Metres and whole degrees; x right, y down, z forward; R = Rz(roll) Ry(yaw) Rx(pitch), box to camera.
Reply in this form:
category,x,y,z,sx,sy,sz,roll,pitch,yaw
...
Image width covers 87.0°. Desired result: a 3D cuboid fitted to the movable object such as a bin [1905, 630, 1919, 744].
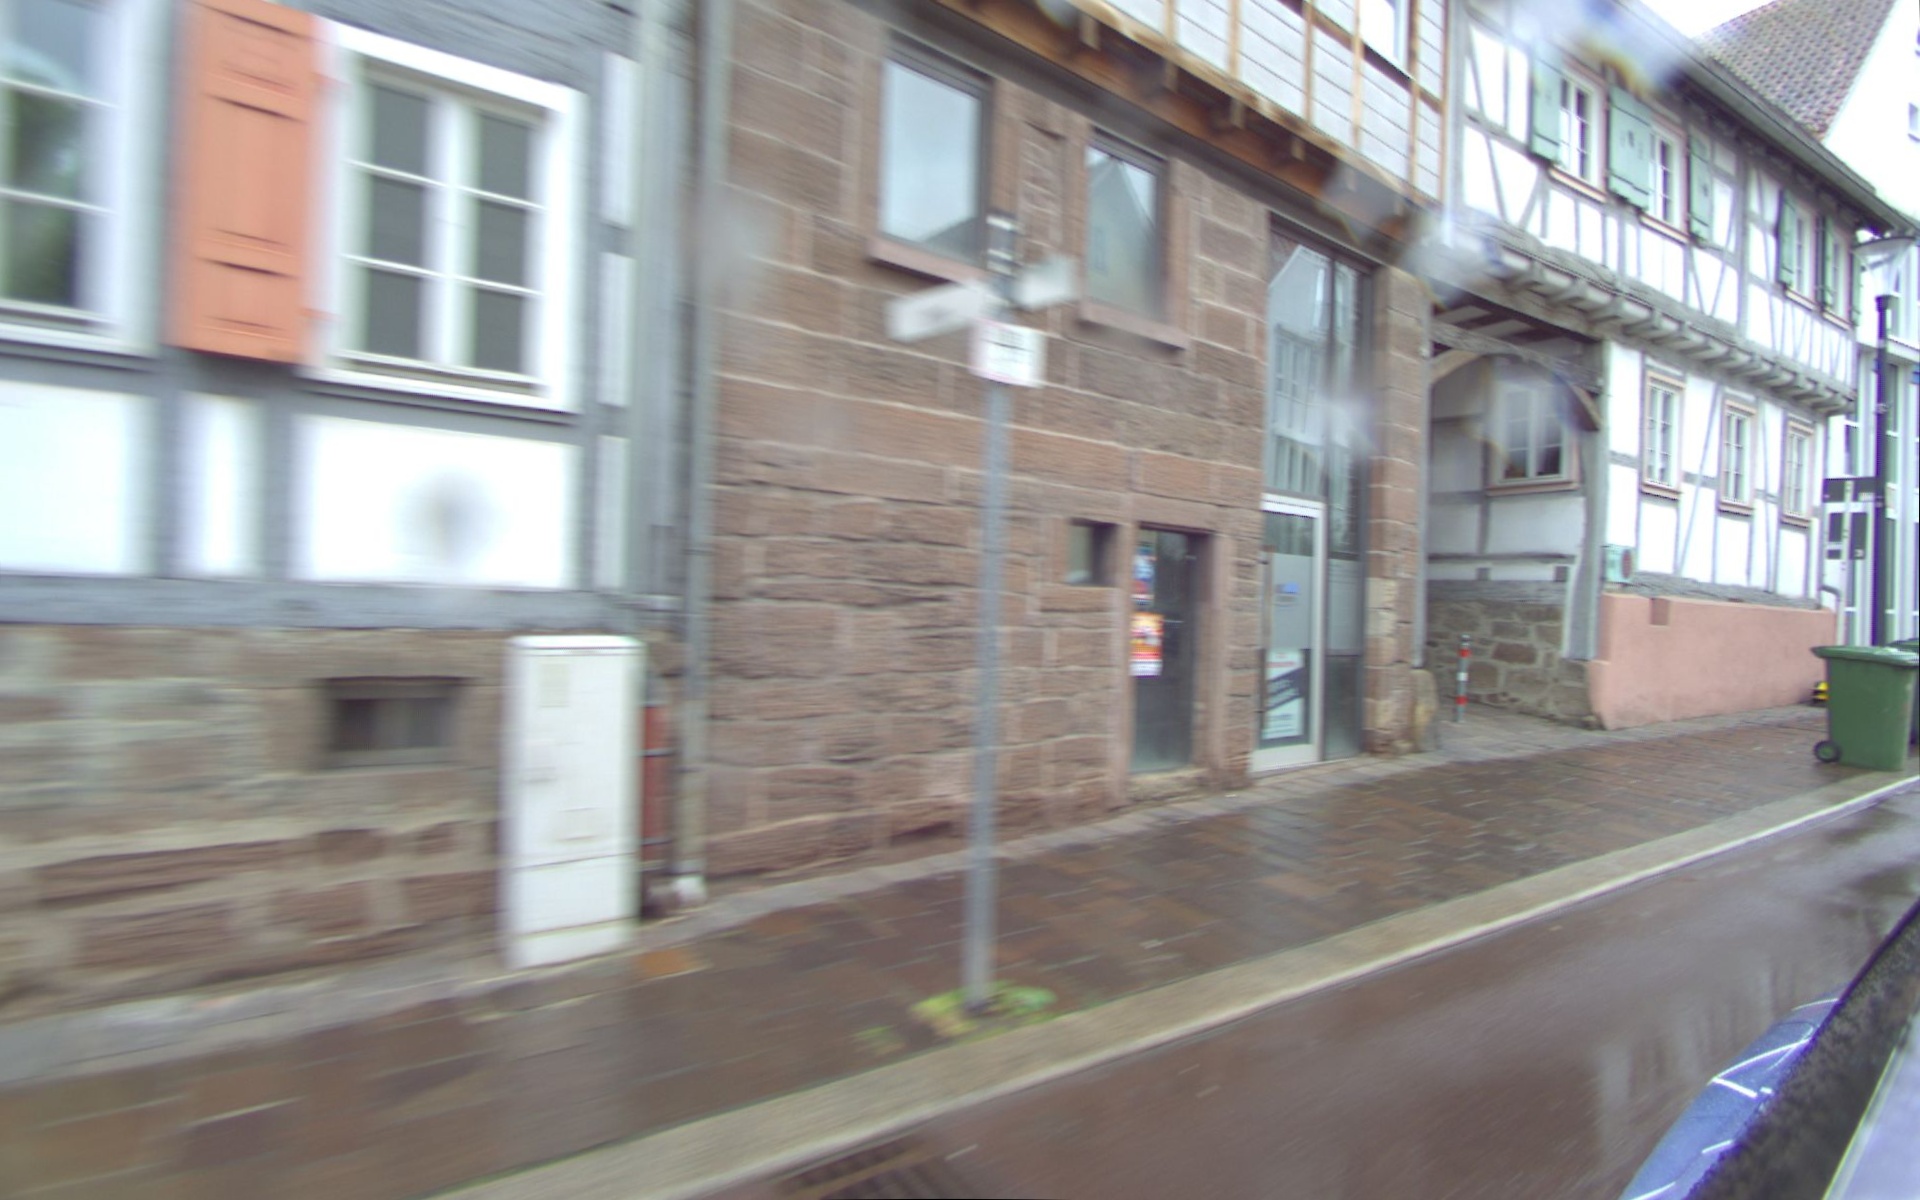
category,x,y,z,sx,sy,sz,roll,pitch,yaw
movable object such as a bin,10.220,0.899,10.369,0.568,1.161,0.641,0,0,-29

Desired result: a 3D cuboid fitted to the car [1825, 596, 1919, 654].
category,x,y,z,sx,sy,sz,roll,pitch,yaw
car,27.270,0.740,28.468,1.871,1.533,4.008,2,1,-24

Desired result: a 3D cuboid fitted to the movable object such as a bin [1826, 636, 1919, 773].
category,x,y,z,sx,sy,sz,roll,pitch,yaw
movable object such as a bin,8.275,0.912,9.097,0.588,1.142,0.611,0,0,-35
